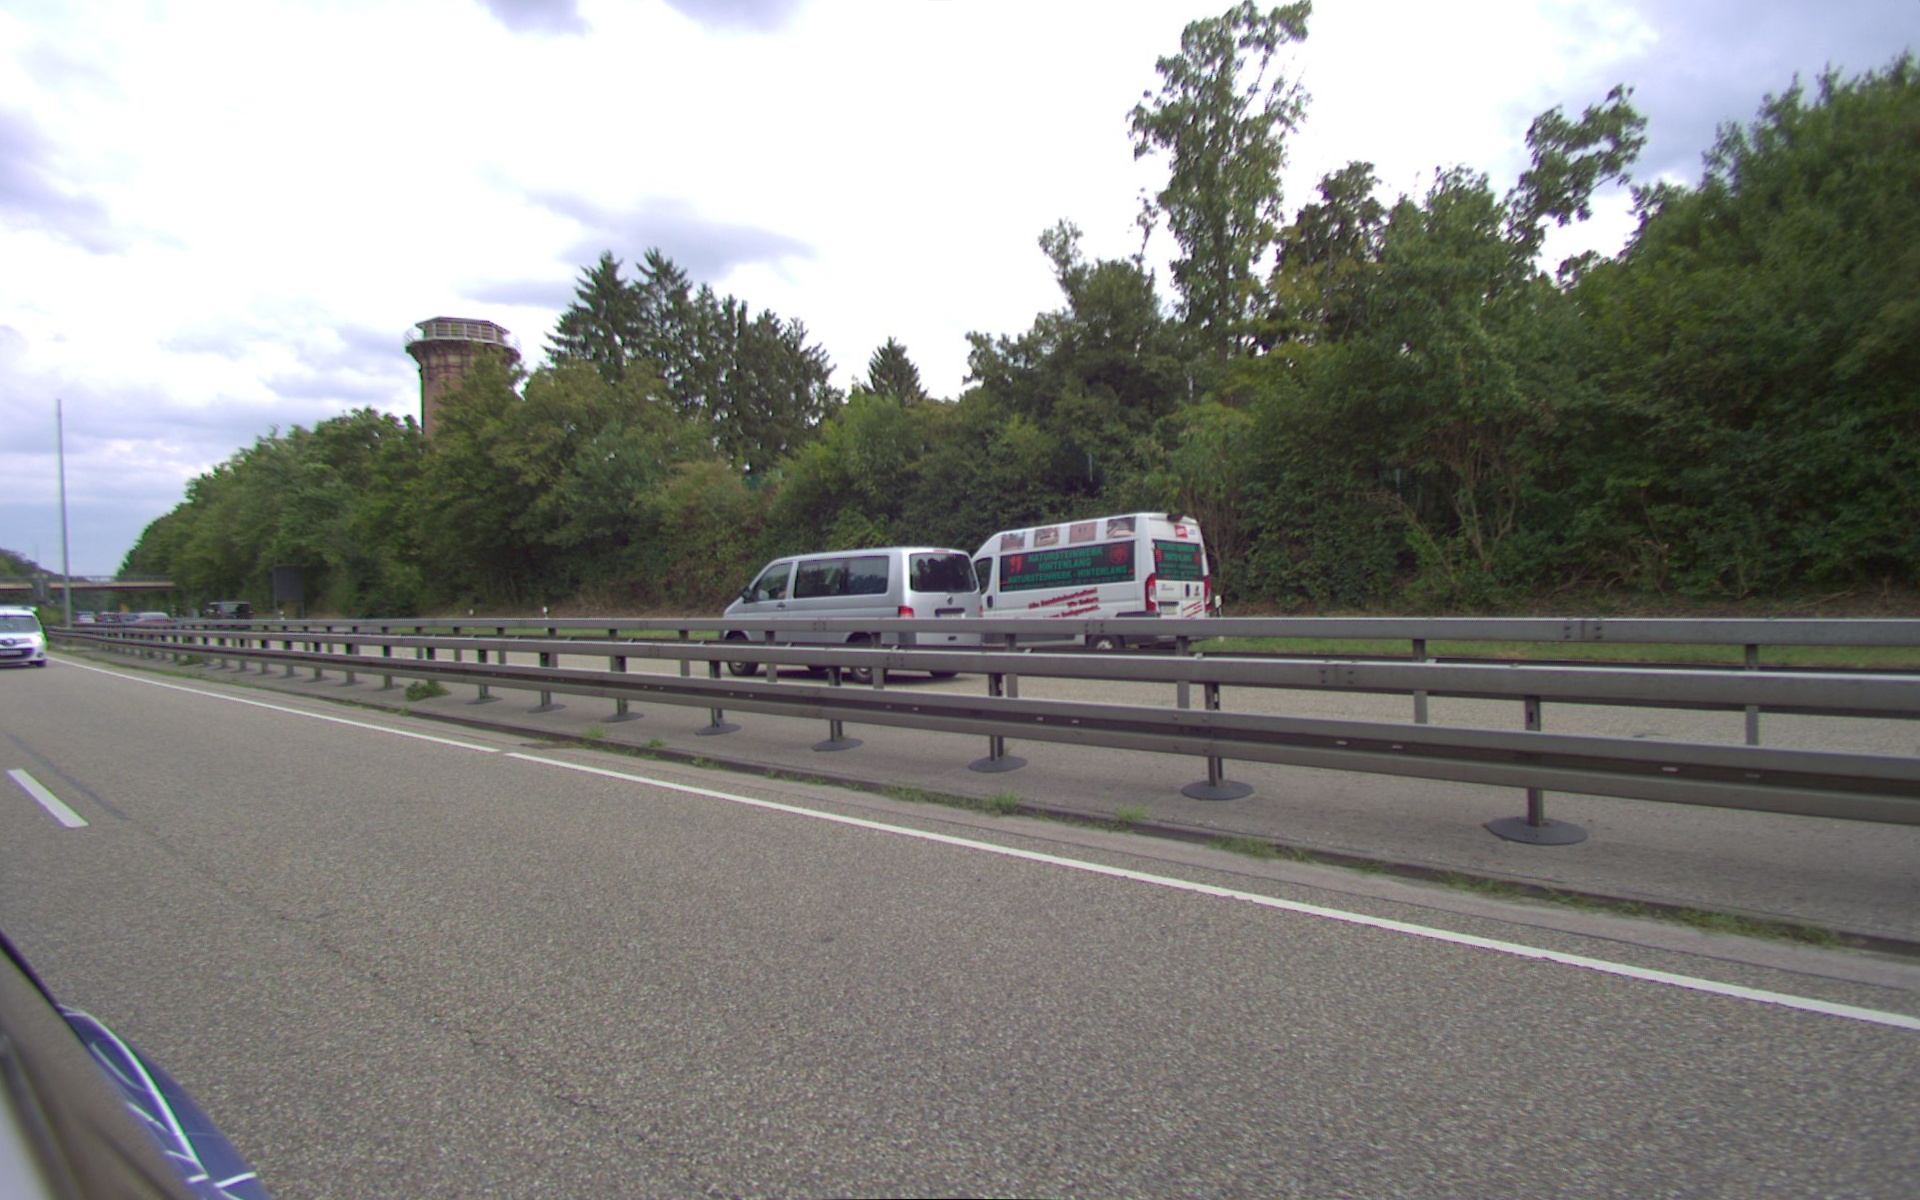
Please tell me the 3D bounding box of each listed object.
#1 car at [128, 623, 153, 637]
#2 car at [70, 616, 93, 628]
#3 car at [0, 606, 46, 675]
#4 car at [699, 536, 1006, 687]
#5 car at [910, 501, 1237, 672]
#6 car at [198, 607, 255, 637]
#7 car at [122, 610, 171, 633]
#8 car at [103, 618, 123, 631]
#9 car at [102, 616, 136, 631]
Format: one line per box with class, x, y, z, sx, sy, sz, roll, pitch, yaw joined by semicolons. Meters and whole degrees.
car;-90.789;3.286;112.058;1.791;1.461;4.059;0;-1;-44
car;-102.166;2.548;117.698;4.059;1.438;1.692;-1;-1;45
car;-29.474;1.206;30.990;4.422;2.020;1.797;-1;-1;42
car;-1.821;0.186;15.715;5.055;1.998;1.803;-1;-1;41
car;1.894;-0.173;18.255;5.550;2.630;2.288;-1;-1;41
car;-46.649;1.386;64.356;5.123;1.817;2.013;-1;-1;43
car;-48.020;1.249;59.689;4.713;1.288;1.637;-1;-1;43
car;-106.297;3.068;126.968;1.710;1.613;4.135;0;-1;-44
car;-79.721;2.206;95.915;4.068;1.309;1.956;-1;-1;43
